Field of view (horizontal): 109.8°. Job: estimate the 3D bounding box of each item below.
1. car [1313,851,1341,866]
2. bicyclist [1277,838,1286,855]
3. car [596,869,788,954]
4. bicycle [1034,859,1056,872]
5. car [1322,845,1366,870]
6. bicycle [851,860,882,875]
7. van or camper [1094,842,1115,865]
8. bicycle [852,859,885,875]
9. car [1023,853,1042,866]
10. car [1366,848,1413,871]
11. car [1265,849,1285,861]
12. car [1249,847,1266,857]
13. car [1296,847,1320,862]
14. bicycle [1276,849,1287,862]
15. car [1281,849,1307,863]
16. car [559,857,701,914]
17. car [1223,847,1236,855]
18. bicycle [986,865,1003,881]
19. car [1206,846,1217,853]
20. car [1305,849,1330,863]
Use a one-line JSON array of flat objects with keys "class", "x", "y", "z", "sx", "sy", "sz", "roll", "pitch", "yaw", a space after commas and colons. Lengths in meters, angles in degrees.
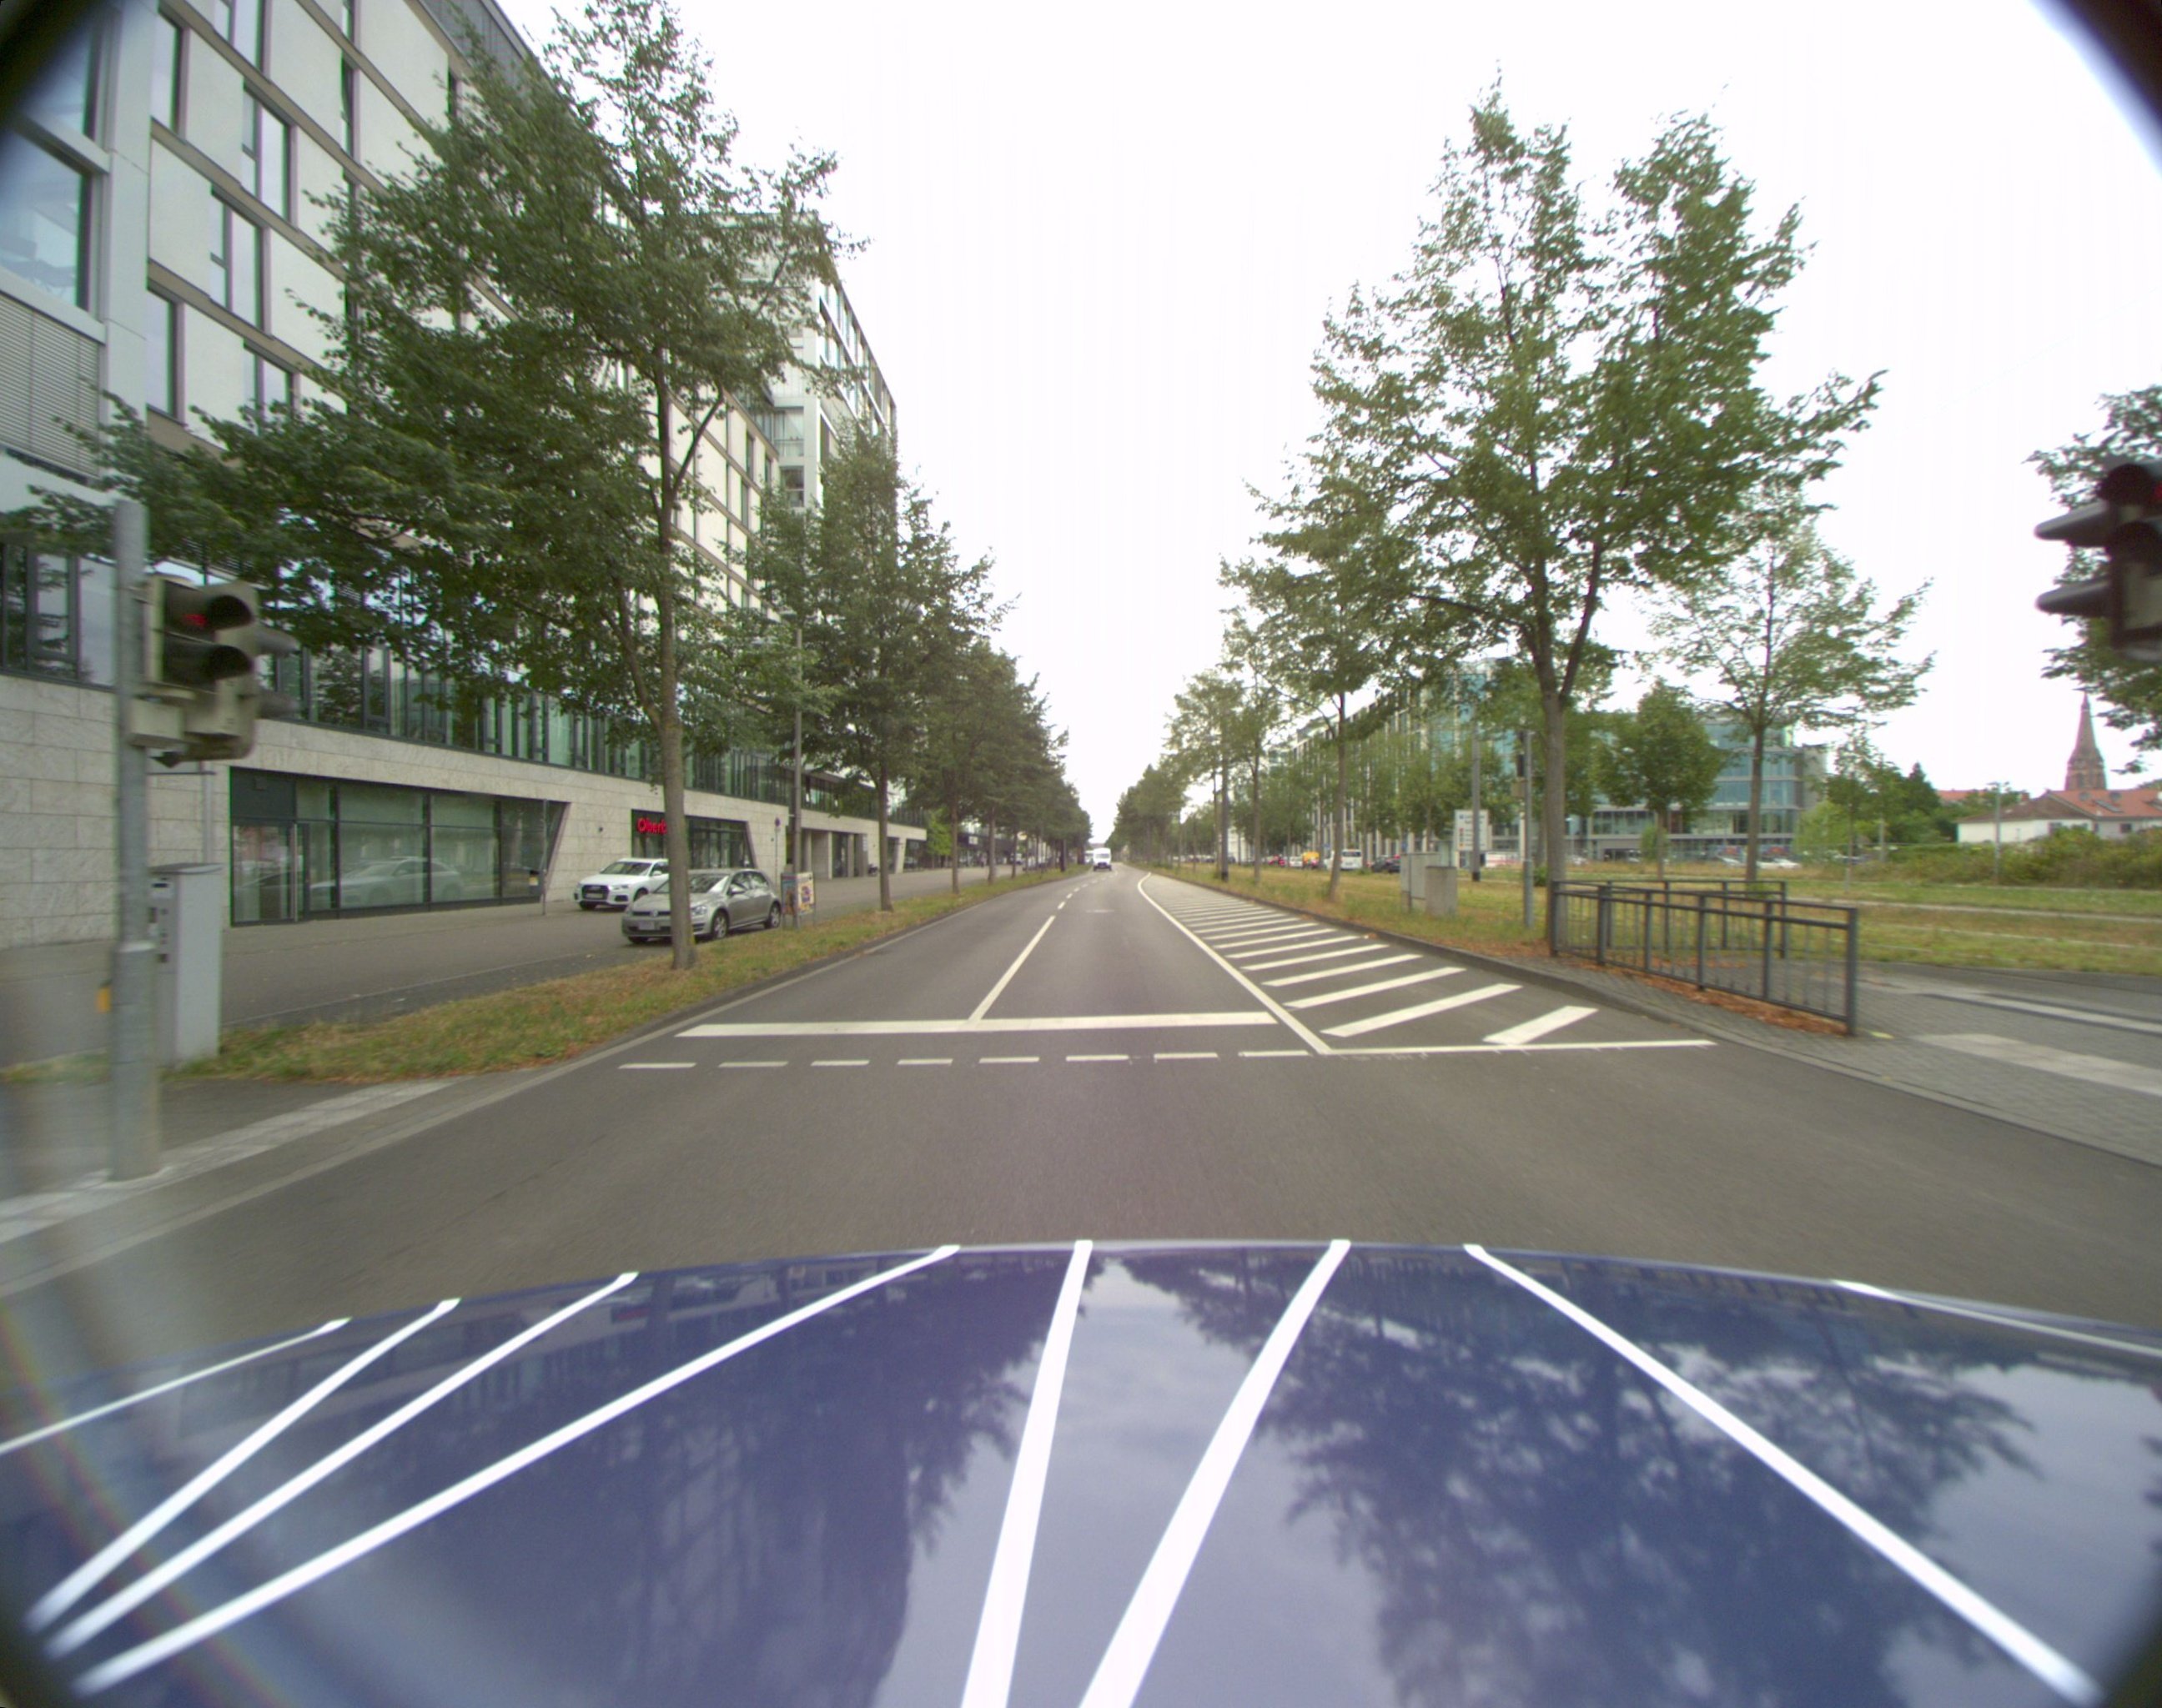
[{"class": "car", "x": 25.284, "y": 0.473, "z": 78.262, "sx": 1.753, "sy": 1.488, "sz": 3.865, "roll": 0, "pitch": 1, "yaw": 1}, {"class": "bicyclist", "x": 24.021, "y": -0.902, "z": 91.042, "sx": 0.742, "sy": 2.002, "sz": 0.995, "roll": -3, "pitch": 1, "yaw": -1}, {"class": "car", "x": -7.930, "y": 1.103, "z": 15.988, "sx": 1.764, "sy": 1.413, "sz": 4.183, "roll": -1, "pitch": 0, "yaw": 2}, {"class": "bicycle", "x": -3.067, "y": 0.989, "z": 64.399, "sx": 1.790, "sy": 1.013, "sz": 0.422, "roll": -1, "pitch": 1, "yaw": -13}, {"class": "car", "x": 21.811, "y": 0.266, "z": 63.241, "sx": 1.998, "sy": 1.933, "sz": 5.096, "roll": -1, "pitch": 1, "yaw": 1}, {"class": "bicycle", "x": -16.939, "y": 1.053, "z": 60.052, "sx": 2.238, "sy": 1.170, "sz": 0.975, "roll": -1, "pitch": 1, "yaw": -6}, {"class": "van or camper", "x": 2.646, "y": -0.094, "z": 85.789, "sx": 2.183, "sy": 2.494, "sz": 6.339, "roll": -2, "pitch": 1, "yaw": 1}, {"class": "bicycle", "x": -17.113, "y": 1.050, "z": 61.283, "sx": 2.425, "sy": 1.170, "sz": 1.202, "roll": -1, "pitch": 1, "yaw": -6}, {"class": "car", "x": -5.943, "y": 0.690, "z": 93.082, "sx": 1.954, "sy": 1.521, "sz": 4.000, "roll": -1, "pitch": 0, "yaw": 1}, {"class": "car", "x": 24.736, "y": 0.415, "z": 61.089, "sx": 1.832, "sy": 1.647, "sz": 4.691, "roll": -2, "pitch": 0, "yaw": -1}, {"class": "car", "x": 24.349, "y": 0.168, "z": 95.555, "sx": 1.752, "sy": 1.448, "sz": 3.866, "roll": 0, "pitch": 1, "yaw": 4}, {"class": "car", "x": 25.471, "y": -0.257, "z": 109.951, "sx": 1.752, "sy": 1.448, "sz": 3.865, "roll": 0, "pitch": 1, "yaw": 3}, {"class": "car", "x": 27.208, "y": 0.043, "z": 91.236, "sx": 1.956, "sy": 1.761, "sz": 4.446, "roll": -1, "pitch": 0, "yaw": 5}, {"class": "bicycle", "x": 24.061, "y": 0.155, "z": 91.165, "sx": 0.711, "sy": 1.479, "sz": 2.357, "roll": -3, "pitch": 0, "yaw": 0}, {"class": "car", "x": 23.043, "y": 0.185, "z": 82.333, "sx": 1.753, "sy": 1.488, "sz": 3.865, "roll": -1, "pitch": 0, "yaw": 1}, {"class": "car", "x": -14.201, "y": 0.923, "z": 24.246, "sx": 1.862, "sy": 1.579, "sz": 4.240, "roll": 2, "pitch": 1, "yaw": 2}, {"class": "car", "x": 26.563, "y": -0.584, "z": 135.618, "sx": 1.752, "sy": 1.448, "sz": 3.865, "roll": 0, "pitch": 1, "yaw": 3}, {"class": "bicycle", "x": -5.275, "y": 1.134, "z": 46.232, "sx": 0.634, "sy": 0.871, "sz": 2.116, "roll": -3, "pitch": 1, "yaw": 3}, {"class": "car", "x": 26.873, "y": -0.868, "z": 157.014, "sx": 1.752, "sy": 1.448, "sz": 3.865, "roll": 0, "pitch": 1, "yaw": 3}, {"class": "car", "x": 26.123, "y": 0.217, "z": 84.144, "sx": 1.752, "sy": 1.448, "sz": 3.866, "roll": -1, "pitch": 0, "yaw": 3}]
